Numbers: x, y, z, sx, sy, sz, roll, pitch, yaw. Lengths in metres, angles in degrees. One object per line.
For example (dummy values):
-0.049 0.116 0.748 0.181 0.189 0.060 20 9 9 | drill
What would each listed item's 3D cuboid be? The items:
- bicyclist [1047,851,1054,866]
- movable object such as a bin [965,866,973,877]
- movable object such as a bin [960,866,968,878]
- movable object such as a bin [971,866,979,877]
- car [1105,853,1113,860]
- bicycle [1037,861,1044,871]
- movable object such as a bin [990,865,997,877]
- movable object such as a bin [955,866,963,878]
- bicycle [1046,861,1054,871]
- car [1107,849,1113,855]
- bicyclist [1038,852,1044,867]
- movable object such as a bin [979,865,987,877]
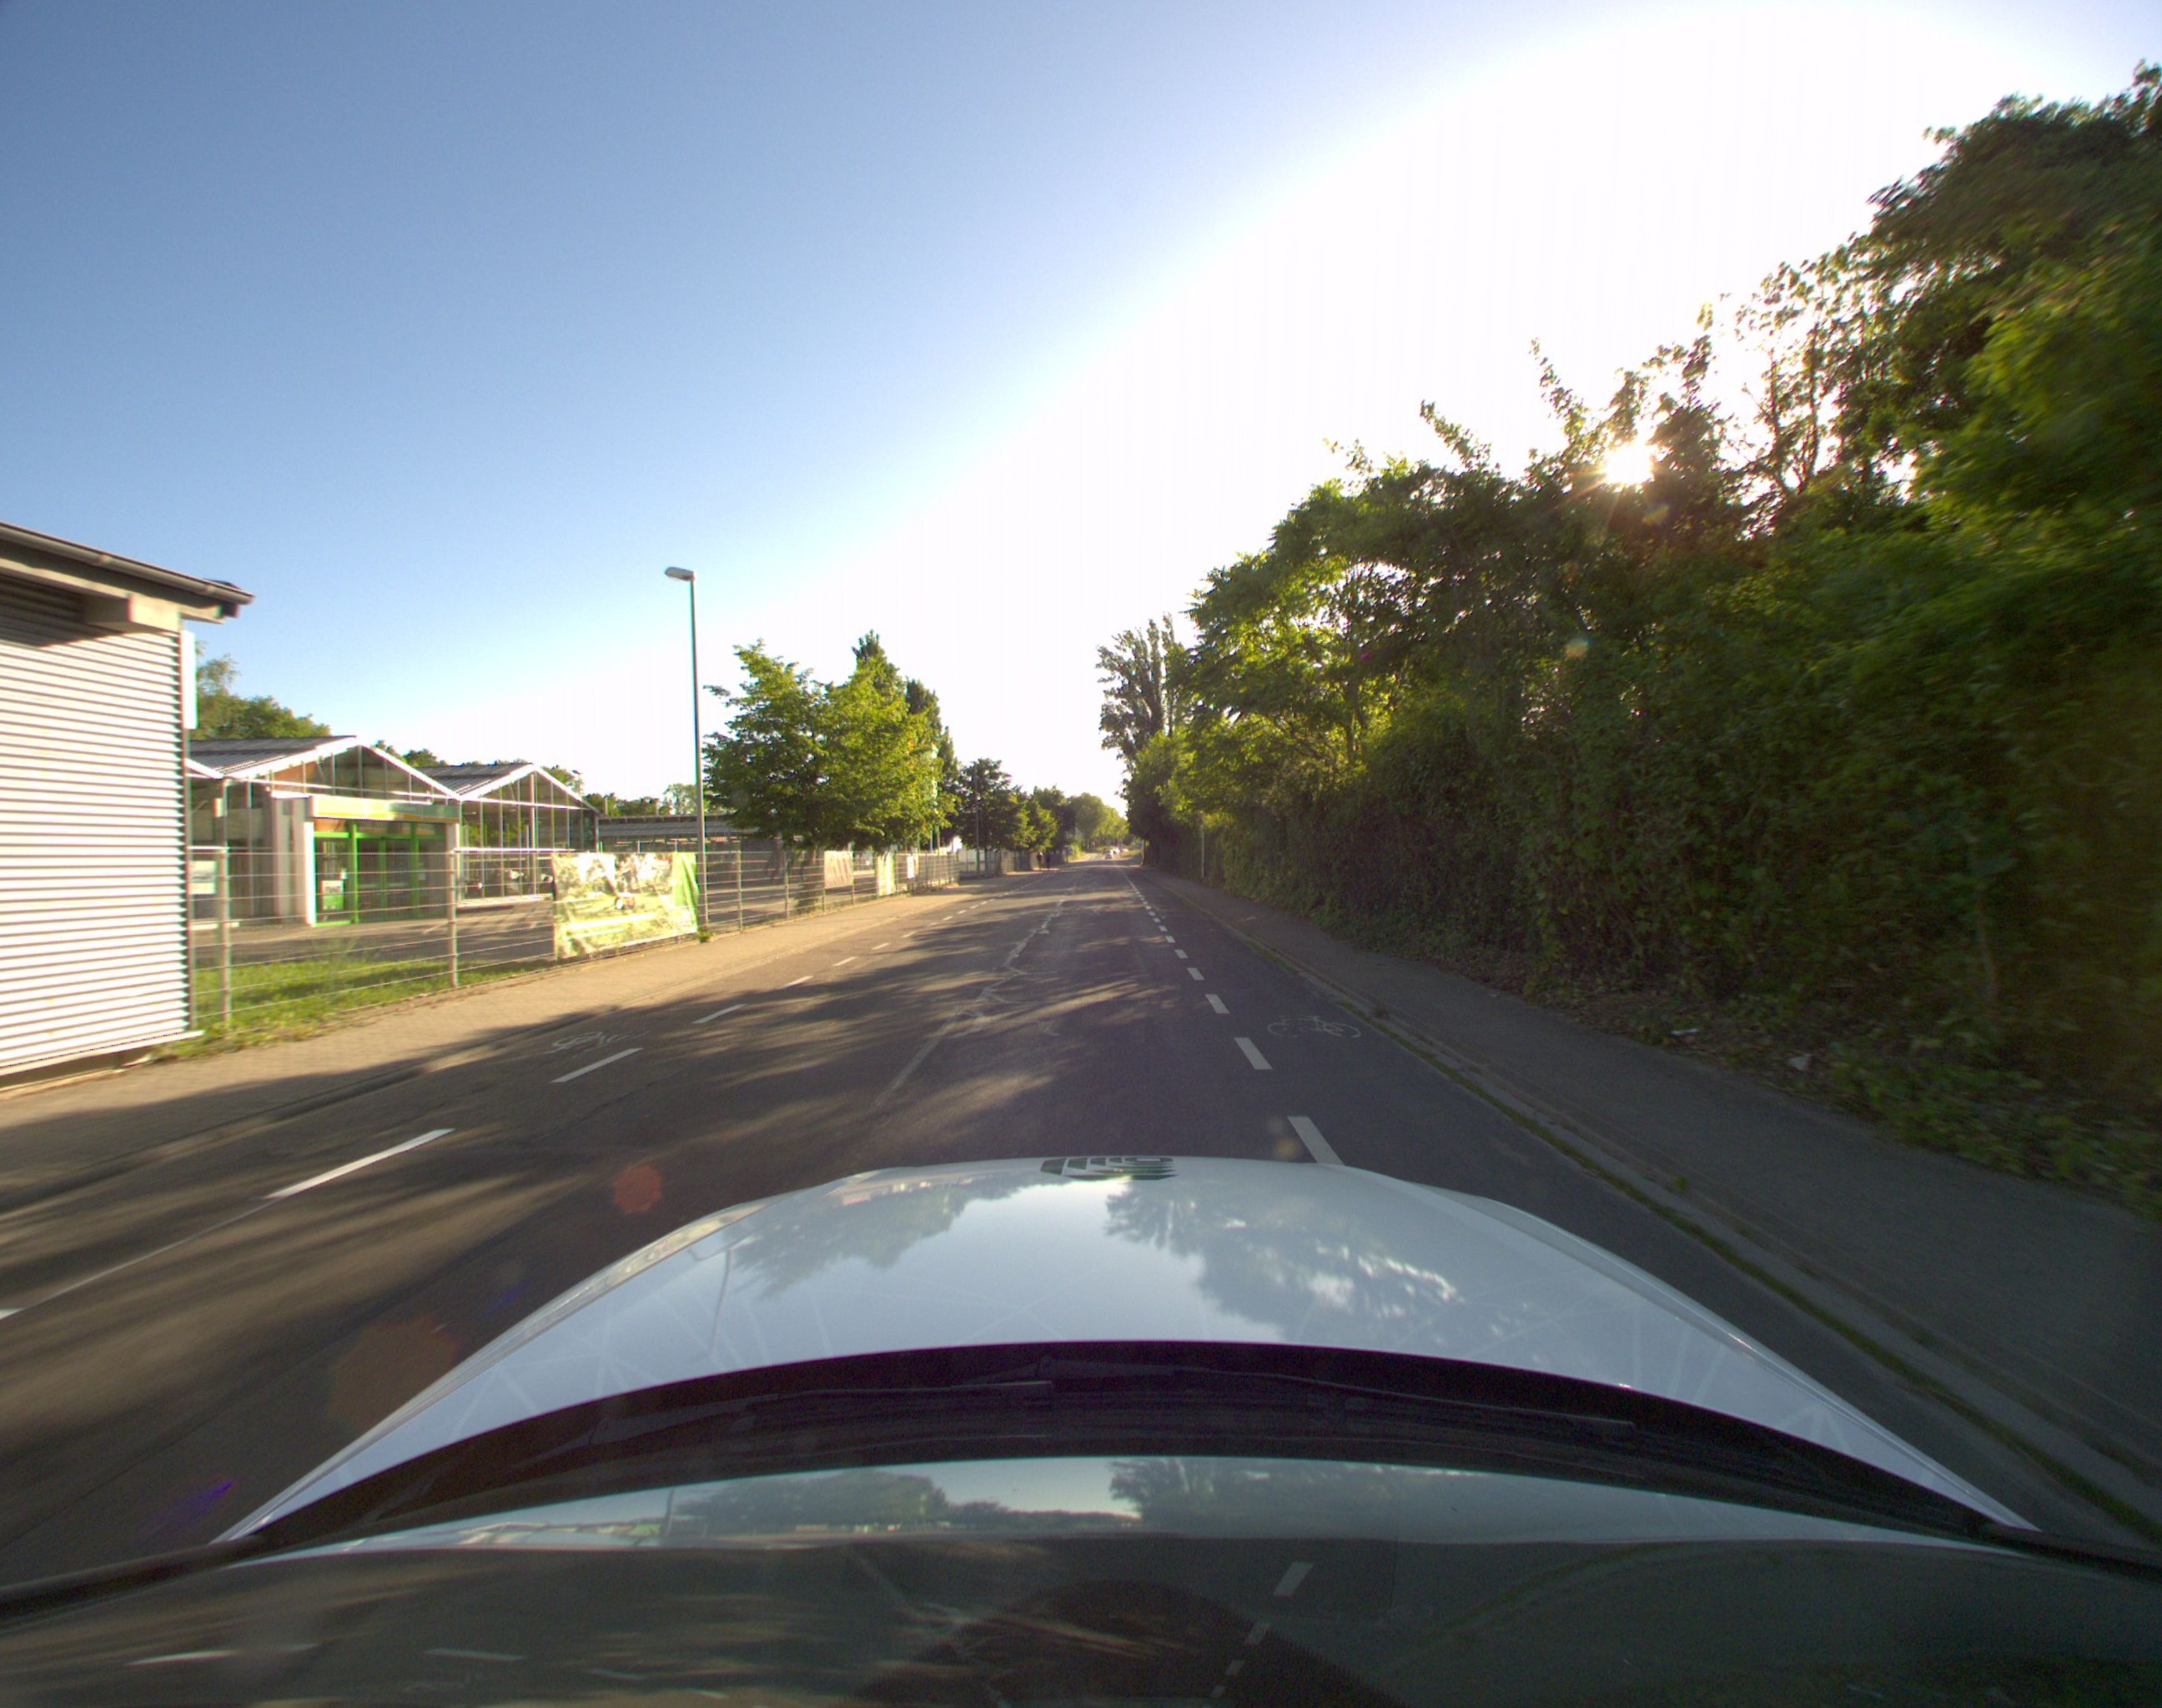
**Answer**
-3.093 0.484 82.197 0.687 1.532 0.723 0 0 1 | bicyclist
-10.675 1.675 77.652 0.461 1.076 1.570 -1 -1 2 | movable object such as a bin
-11.182 1.691 77.761 0.461 1.076 1.570 -1 -1 2 | movable object such as a bin
-10.101 1.661 77.703 0.461 1.076 1.570 -1 -1 2 | movable object such as a bin
7.151 0.590 206.939 1.935 1.651 4.311 0 0 2 | car
-4.085 1.245 82.831 0.560 1.034 1.351 0 0 2 | bicycle
-8.314 1.611 77.629 0.461 1.076 1.570 -1 -1 2 | movable object such as a bin
-11.668 1.707 77.875 0.461 1.076 1.570 -1 -1 2 | movable object such as a bin
-3.096 1.226 82.228 0.686 1.034 1.351 0 0 2 | bicycle
8.969 -0.681 253.889 1.935 1.651 4.311 0 0 2 | car
-4.077 0.527 82.758 0.558 1.534 0.689 0 0 2 | bicyclist
-9.364 1.643 77.765 0.461 1.076 1.570 -1 -1 2 | movable object such as a bin
